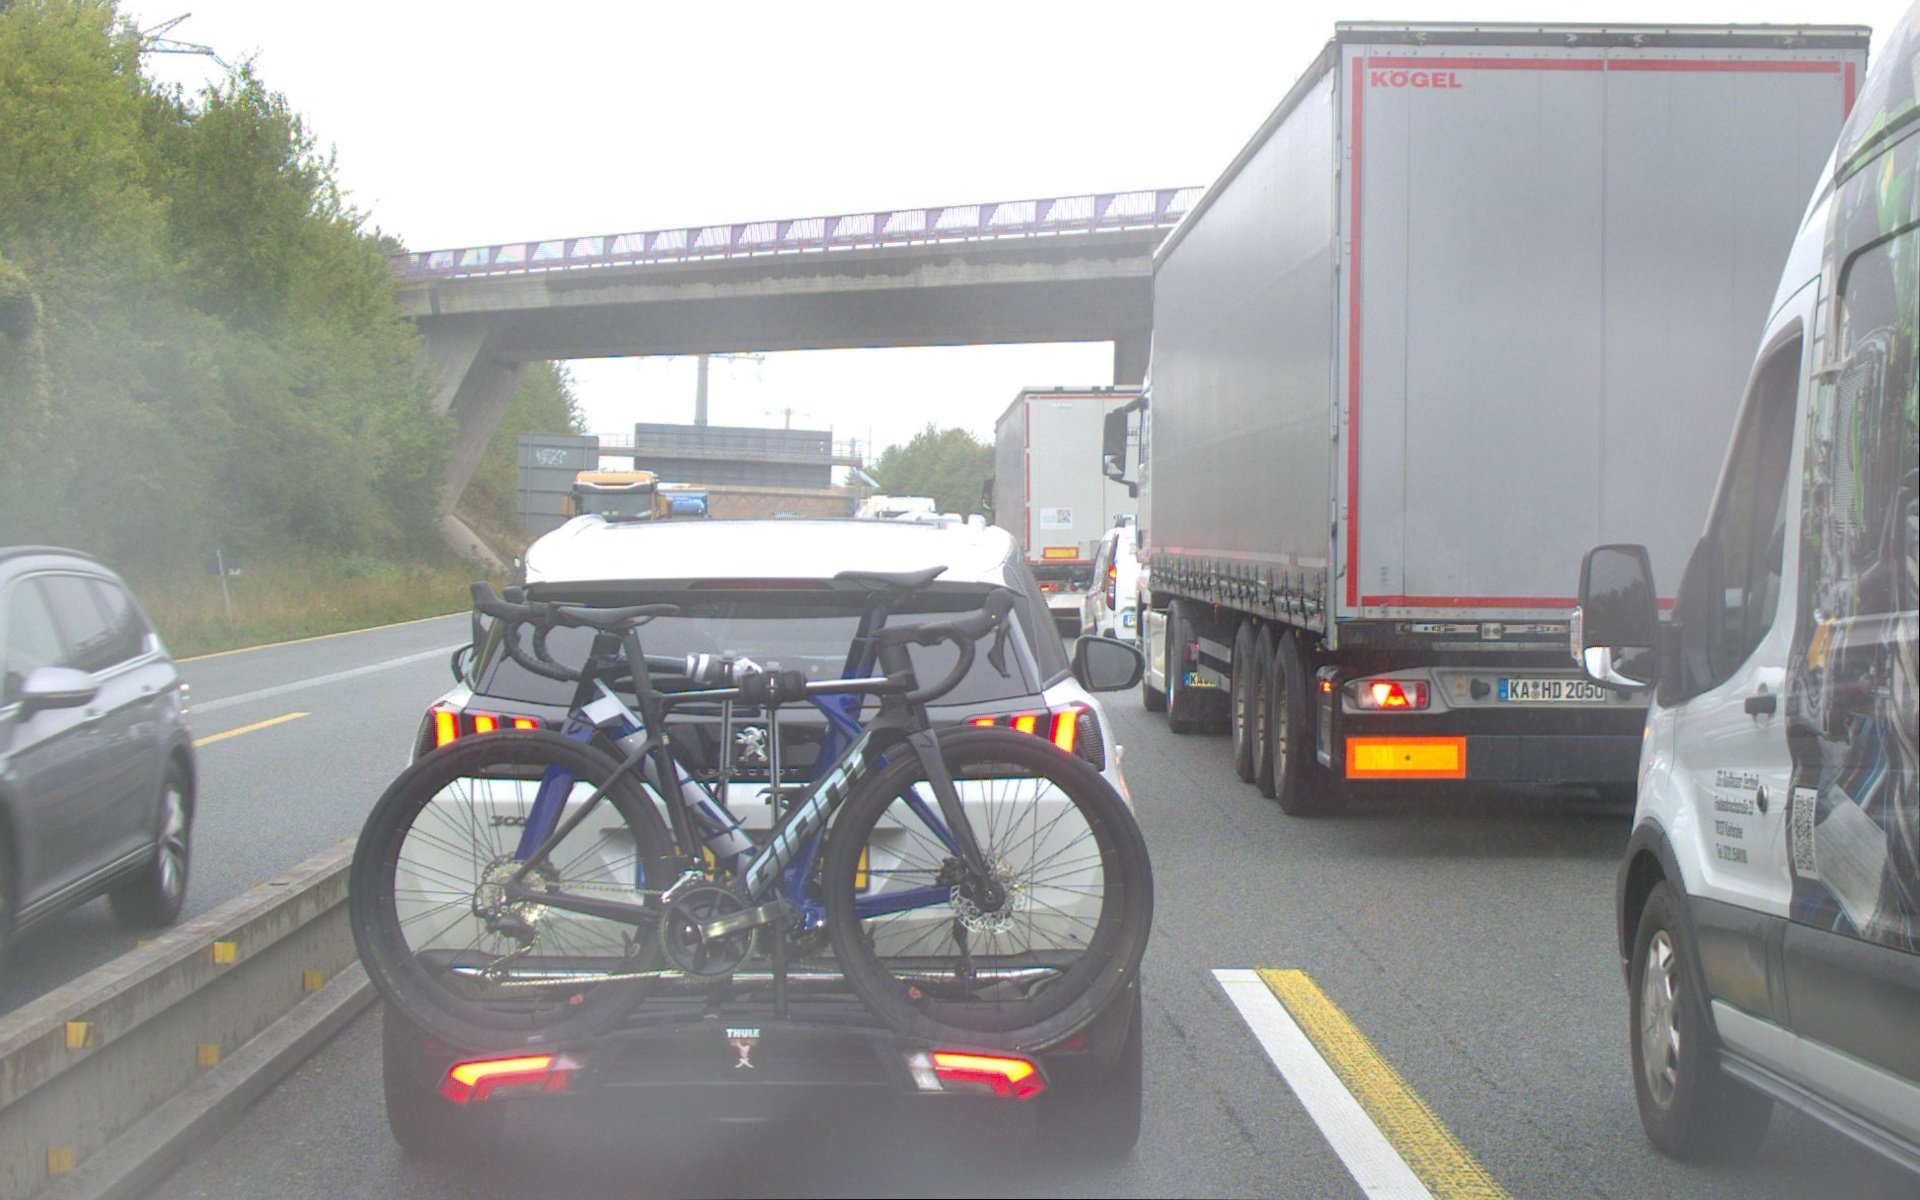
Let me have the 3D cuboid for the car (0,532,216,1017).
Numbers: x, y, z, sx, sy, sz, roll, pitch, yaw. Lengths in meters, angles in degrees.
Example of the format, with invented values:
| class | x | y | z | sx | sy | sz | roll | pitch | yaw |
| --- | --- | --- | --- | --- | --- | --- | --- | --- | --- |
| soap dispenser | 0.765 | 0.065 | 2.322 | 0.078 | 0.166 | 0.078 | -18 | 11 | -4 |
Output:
| class | x | y | z | sx | sy | sz | roll | pitch | yaw |
| --- | --- | --- | --- | --- | --- | --- | --- | --- | --- |
| car | -3.853 | 0.514 | 11.561 | 1.810 | 1.483 | 4.397 | 1 | 1 | -1 |

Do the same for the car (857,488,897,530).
| class | x | y | z | sx | sy | sz | roll | pitch | yaw |
| --- | --- | --- | --- | --- | --- | --- | --- | --- | --- |
| car | -4.343 | -4.774 | 180.858 | 1.993 | 2.119 | 4.527 | 1 | 1 | 0 |

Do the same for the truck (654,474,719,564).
| class | x | y | z | sx | sy | sz | roll | pitch | yaw |
| --- | --- | --- | --- | --- | --- | --- | --- | --- | --- |
| truck | -13.406 | -3.846 | 167.455 | 2.765 | 4.109 | 16.930 | 1 | 1 | -6 |

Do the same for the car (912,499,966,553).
| class | x | y | z | sx | sy | sz | roll | pitch | yaw |
| --- | --- | --- | --- | --- | --- | --- | --- | --- | --- |
| car | -0.793 | -2.825 | 132.046 | 1.993 | 2.007 | 4.000 | 1 | 1 | 0 |

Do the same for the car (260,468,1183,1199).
| class | x | y | z | sx | sy | sz | roll | pitch | yaw |
| --- | --- | --- | --- | --- | --- | --- | --- | --- | --- |
| car | -0.435 | 0.541 | 9.097 | 1.810 | 1.632 | 4.635 | 1 | 1 | 1 |

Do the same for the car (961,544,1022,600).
| class | x | y | z | sx | sy | sz | roll | pitch | yaw |
| --- | --- | --- | --- | --- | --- | --- | --- | --- | --- |
| car | 0.851 | -0.762 | 94.264 | 1.638 | 1.492 | 3.666 | 1 | 1 | 0 |

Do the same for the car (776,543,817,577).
| class | x | y | z | sx | sy | sz | roll | pitch | yaw |
| --- | --- | --- | --- | --- | --- | --- | --- | --- | --- |
| car | -6.993 | -1.718 | 147.255 | 1.686 | 1.404 | 3.930 | 1 | 1 | -2 |

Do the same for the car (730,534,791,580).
| class | x | y | z | sx | sy | sz | roll | pitch | yaw |
| --- | --- | --- | --- | --- | --- | --- | --- | --- | --- |
| car | -7.120 | -1.533 | 122.981 | 1.935 | 1.602 | 4.120 | 1 | 1 | 0 |

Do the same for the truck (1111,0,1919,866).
| class | x | y | z | sx | sy | sz | roll | pitch | yaw |
| --- | --- | --- | --- | --- | --- | --- | --- | --- | --- |
| truck | 3.608 | -1.734 | 25.754 | 3.979 | 5.654 | 20.376 | 1 | 1 | 0 |

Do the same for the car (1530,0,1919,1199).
| class | x | y | z | sx | sy | sz | roll | pitch | yaw |
| --- | --- | --- | --- | --- | --- | --- | --- | --- | --- |
| car | 2.701 | 0.035 | 6.435 | 2.144 | 2.667 | 6.117 | 1 | 1 | -1 |

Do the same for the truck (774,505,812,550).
| class | x | y | z | sx | sy | sz | roll | pitch | yaw |
| --- | --- | --- | --- | --- | --- | --- | --- | --- | --- |
| truck | -12.816 | -5.559 | 265.291 | 2.535 | 3.341 | 12.051 | 1 | 1 | -1 |

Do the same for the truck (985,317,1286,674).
| class | x | y | z | sx | sy | sz | roll | pitch | yaw |
| --- | --- | --- | --- | --- | --- | --- | --- | --- | --- |
| truck | 2.976 | -1.777 | 65.101 | 4.743 | 5.654 | 20.376 | 1 | 1 | 1 |

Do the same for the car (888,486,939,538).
| class | x | y | z | sx | sy | sz | roll | pitch | yaw |
| --- | --- | --- | --- | --- | --- | --- | --- | --- | --- |
| car | -2.131 | -4.047 | 158.277 | 2.239 | 2.299 | 4.572 | 1 | 1 | 0 |

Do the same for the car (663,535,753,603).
| class | x | y | z | sx | sy | sz | roll | pitch | yaw |
| --- | --- | --- | --- | --- | --- | --- | --- | --- | --- |
| car | -5.591 | -0.694 | 76.670 | 1.779 | 1.438 | 4.328 | 1 | 1 | -1 |

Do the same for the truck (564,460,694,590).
| class | x | y | z | sx | sy | sz | roll | pitch | yaw |
| --- | --- | --- | --- | --- | --- | --- | --- | --- | --- |
| truck | -9.822 | -2.172 | 103.229 | 2.681 | 3.644 | 12.312 | 1 | 1 | 0 |

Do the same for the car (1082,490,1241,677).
| class | x | y | z | sx | sy | sz | roll | pitch | yaw |
| --- | --- | --- | --- | --- | --- | --- | --- | --- | --- |
| car | 2.431 | -0.218 | 42.405 | 1.670 | 2.173 | 4.535 | 1 | 1 | 0 |

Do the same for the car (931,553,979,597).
| class | x | y | z | sx | sy | sz | roll | pitch | yaw |
| --- | --- | --- | --- | --- | --- | --- | --- | --- | --- |
| car | -0.180 | -0.884 | 119.295 | 1.638 | 1.492 | 3.666 | 1 | 1 | 0 |

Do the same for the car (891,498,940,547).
| class | x | y | z | sx | sy | sz | roll | pitch | yaw |
| --- | --- | --- | --- | --- | --- | --- | --- | --- | --- |
| car | -1.852 | -3.267 | 145.063 | 1.993 | 2.007 | 4.000 | 1 | 1 | 0 |
